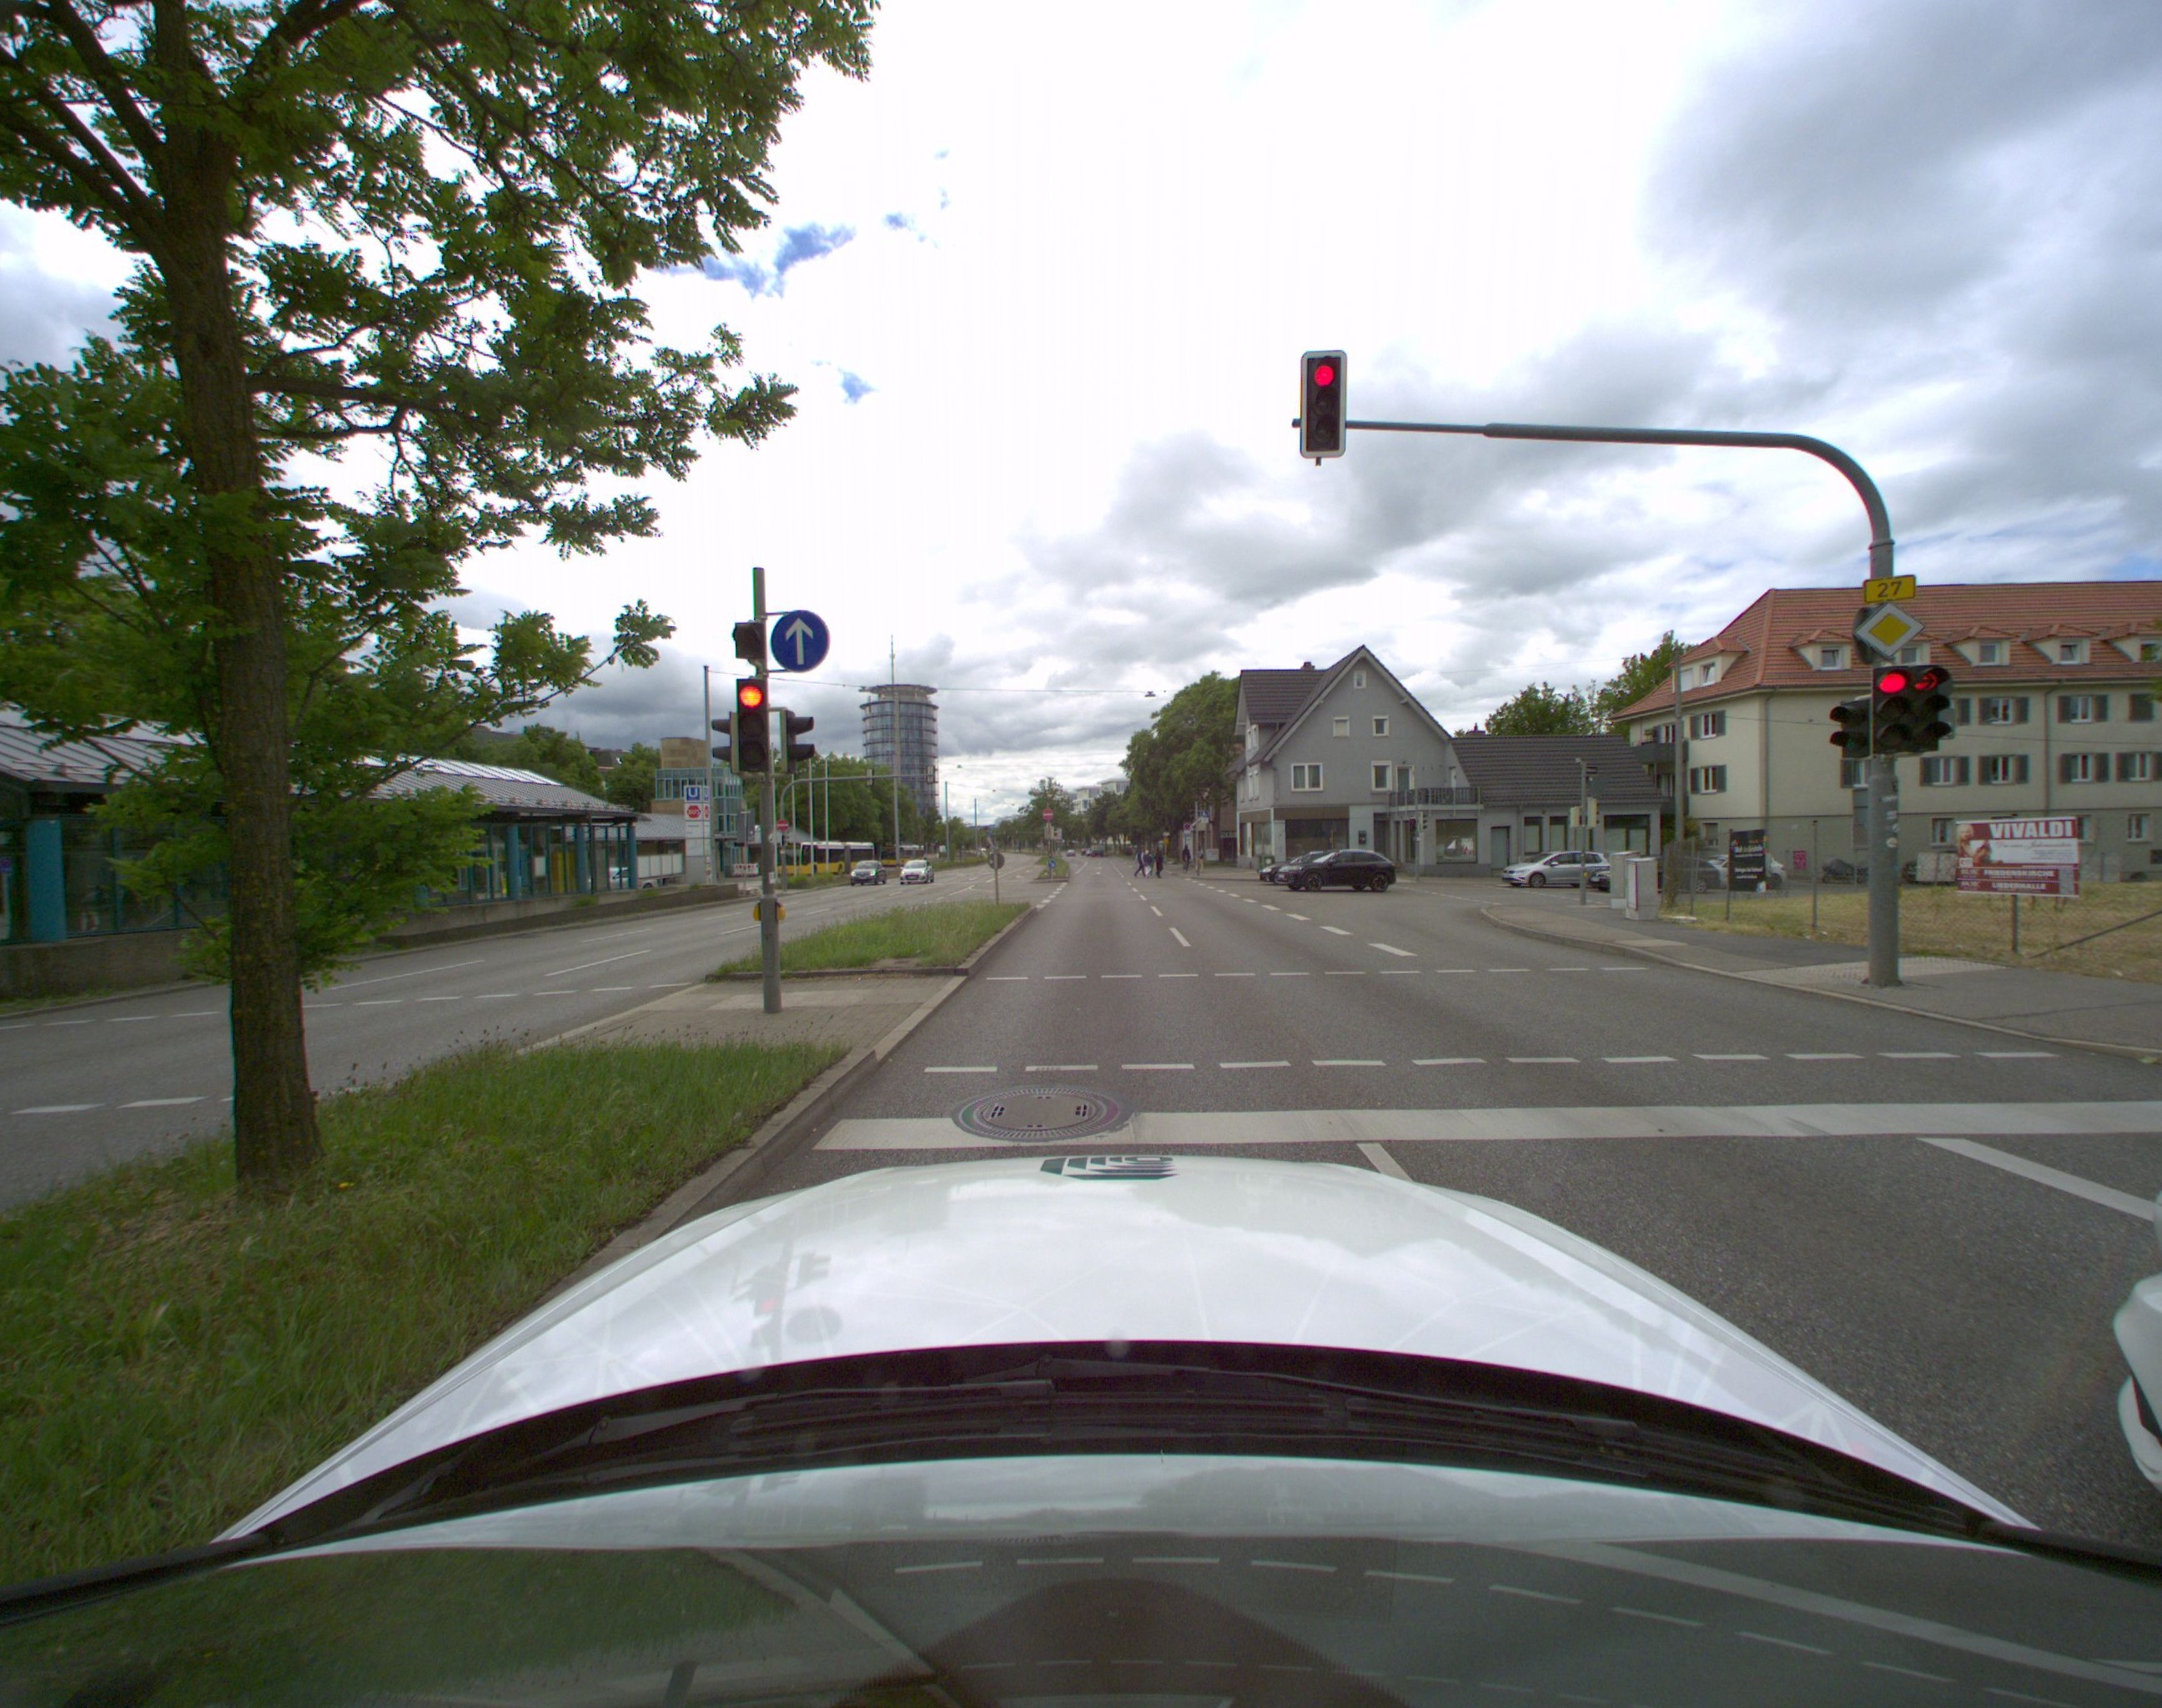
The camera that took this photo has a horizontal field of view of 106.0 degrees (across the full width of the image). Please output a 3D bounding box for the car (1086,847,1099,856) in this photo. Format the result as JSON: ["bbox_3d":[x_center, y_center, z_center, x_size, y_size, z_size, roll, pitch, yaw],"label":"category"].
[{"bbox_3d":[2.342,-0.451,162.498,2.246,1.757,4.928,-2,0,-3],"label":"car"}]

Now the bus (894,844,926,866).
[{"bbox_3d":[-26.041,0.149,124.325,3.134,3.225,7.765,-2,0,0],"label":"bus"}]

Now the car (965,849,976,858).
[{"bbox_3d":[-27.267,-0.131,201.215,1.958,2.014,4.001,0,-1,2],"label":"car"}]

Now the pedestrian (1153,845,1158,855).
[{"bbox_3d":[11.276,-0.634,123.001,0.649,1.570,0.669,-2,0,-6],"label":"pedestrian"}]

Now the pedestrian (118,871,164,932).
[{"bbox_3d":[-26.216,1.313,22.726,0.629,1.667,0.665,-1,-1,23],"label":"pedestrian"}]

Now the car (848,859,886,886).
[{"bbox_3d":[-13.492,1.156,51.532,1.681,1.578,3.344,-2,0,-4],"label":"car"}]

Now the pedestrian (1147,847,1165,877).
[{"bbox_3d":[4.638,0.479,50.298,0.869,1.780,0.703,-2,0,-16],"label":"pedestrian"}]

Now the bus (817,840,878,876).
[{"bbox_3d":[-23.353,0.386,81.866,2.975,3.270,7.889,-2,0,6],"label":"bus"}]

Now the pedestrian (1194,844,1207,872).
[{"bbox_3d":[7.255,0.264,49.562,0.702,1.662,0.871,-2,0,4],"label":"pedestrian"}]

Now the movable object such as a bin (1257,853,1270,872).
[{"bbox_3d":[10.039,0.469,44.748,0.527,0.979,0.737,-2,0,2],"label":"movable object such as a bin"}]

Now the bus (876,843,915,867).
[{"bbox_3d":[-26.098,0.121,115.315,3.135,3.225,10.282,-2,0,0],"label":"bus"}]

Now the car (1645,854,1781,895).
[{"bbox_3d":[26.867,0.850,34.731,4.225,1.477,2.001,-2,0,2],"label":"car"}]

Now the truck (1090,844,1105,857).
[{"bbox_3d":[3.034,-0.636,150.817,2.246,2.417,4.928,-2,0,-3],"label":"truck"}]

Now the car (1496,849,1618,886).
[{"bbox_3d":[19.959,0.550,34.262,4.086,1.540,1.829,0,0,1],"label":"car"}]

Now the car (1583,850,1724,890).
[{"bbox_3d":[22.160,0.610,31.641,4.258,1.481,1.716,0,1,1],"label":"car"}]

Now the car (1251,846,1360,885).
[{"bbox_3d":[9.591,0.470,34.915,4.080,1.494,1.891,-2,0,-6],"label":"car"}]

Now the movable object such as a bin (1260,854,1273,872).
[{"bbox_3d":[10.032,0.482,43.957,0.527,0.979,0.737,-2,0,2],"label":"movable object such as a bin"}]

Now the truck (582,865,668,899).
[{"bbox_3d":[-22.990,1.381,41.222,1.986,1.517,4.001,-2,0,1],"label":"truck"}]

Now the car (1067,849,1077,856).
[{"bbox_3d":[-1.892,-0.322,172.990,1.963,1.420,4.017,-2,0,-3],"label":"car"}]

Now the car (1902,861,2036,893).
[{"bbox_3d":[39.813,1.023,36.579,3.972,1.377,1.871,0,0,2],"label":"car"}]

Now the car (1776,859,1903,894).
[{"bbox_3d":[34.043,0.986,36.617,3.972,1.537,1.871,0,0,2],"label":"car"}]

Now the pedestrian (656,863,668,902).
[{"bbox_3d":[-17.519,1.184,34.050,0.420,1.591,0.353,-2,0,-28],"label":"pedestrian"}]

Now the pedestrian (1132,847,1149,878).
[{"bbox_3d":[3.476,0.469,47.703,0.866,1.780,0.706,-2,0,-7],"label":"pedestrian"}]

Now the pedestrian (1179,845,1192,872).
[{"bbox_3d":[6.428,0.269,50.107,0.701,1.662,0.872,-2,0,8],"label":"pedestrian"}]

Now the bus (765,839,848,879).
[{"bbox_3d":[-24.324,0.417,72.866,2.975,3.250,10.186,-2,0,6],"label":"bus"}]

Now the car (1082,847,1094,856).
[{"bbox_3d":[1.394,-0.527,173.913,2.246,1.647,4.927,-2,0,-3],"label":"car"}]

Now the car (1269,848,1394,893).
[{"bbox_3d":[9.297,0.576,30.416,4.055,1.521,1.836,-2,0,-8],"label":"car"}]

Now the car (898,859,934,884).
[{"bbox_3d":[-10.339,1.064,51.321,1.680,1.462,3.552,-2,0,-3],"label":"car"}]

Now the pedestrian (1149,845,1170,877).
[{"bbox_3d":[4.440,0.393,46.036,1.048,1.760,0.706,-2,0,-8],"label":"pedestrian"}]

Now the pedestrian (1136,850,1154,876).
[{"bbox_3d":[3.703,0.513,46.892,0.866,1.507,0.706,-2,0,-7],"label":"pedestrian"}]

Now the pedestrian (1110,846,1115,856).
[{"bbox_3d":[7.169,-0.649,184.297,0.930,2.308,1.008,0,-1,-8],"label":"pedestrian"}]
